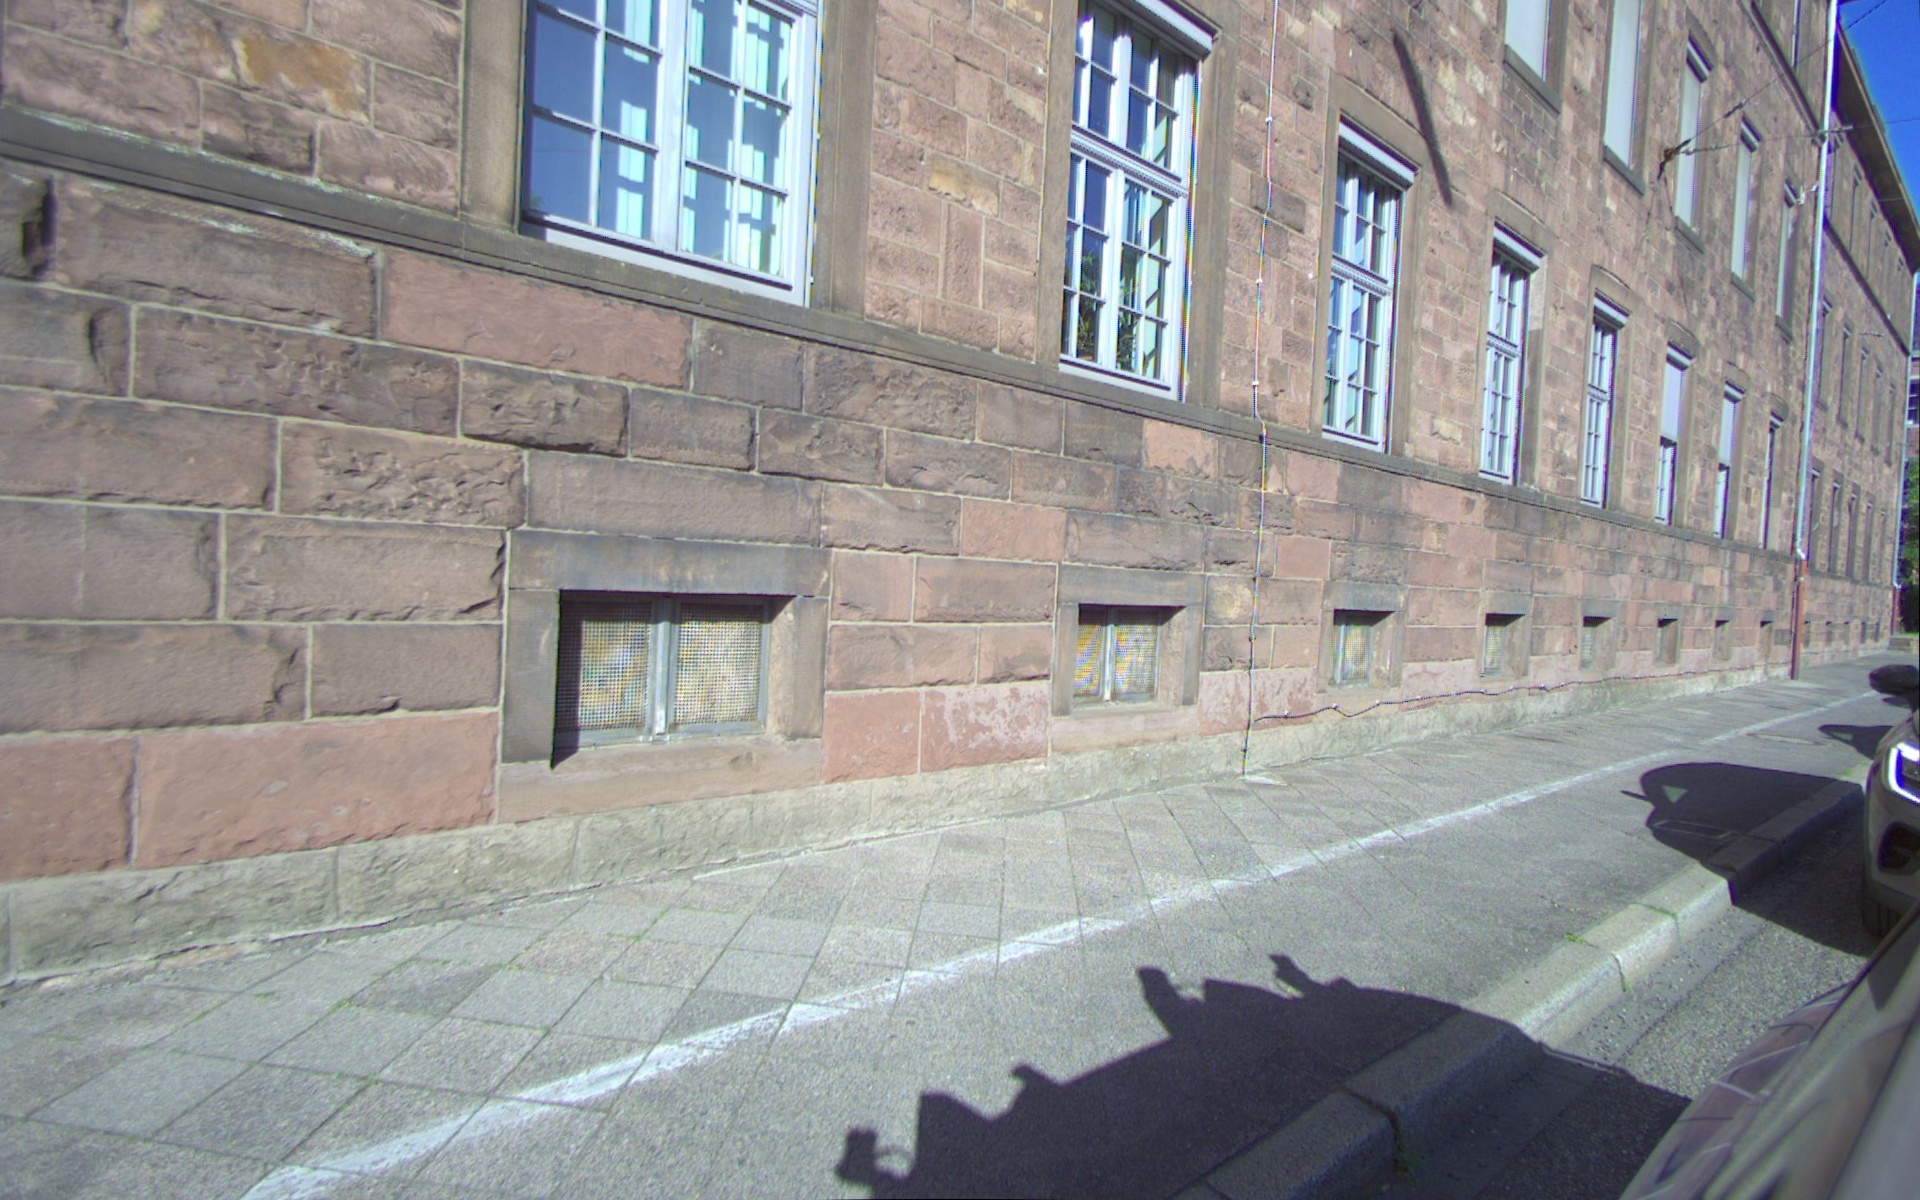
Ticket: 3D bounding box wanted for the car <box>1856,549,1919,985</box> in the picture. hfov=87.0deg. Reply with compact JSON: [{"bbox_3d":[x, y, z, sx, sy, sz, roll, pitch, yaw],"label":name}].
[{"bbox_3d":[5.439,0.662,4.517,3.735,1.624,1.793,1,1,-43],"label":"car"}]
